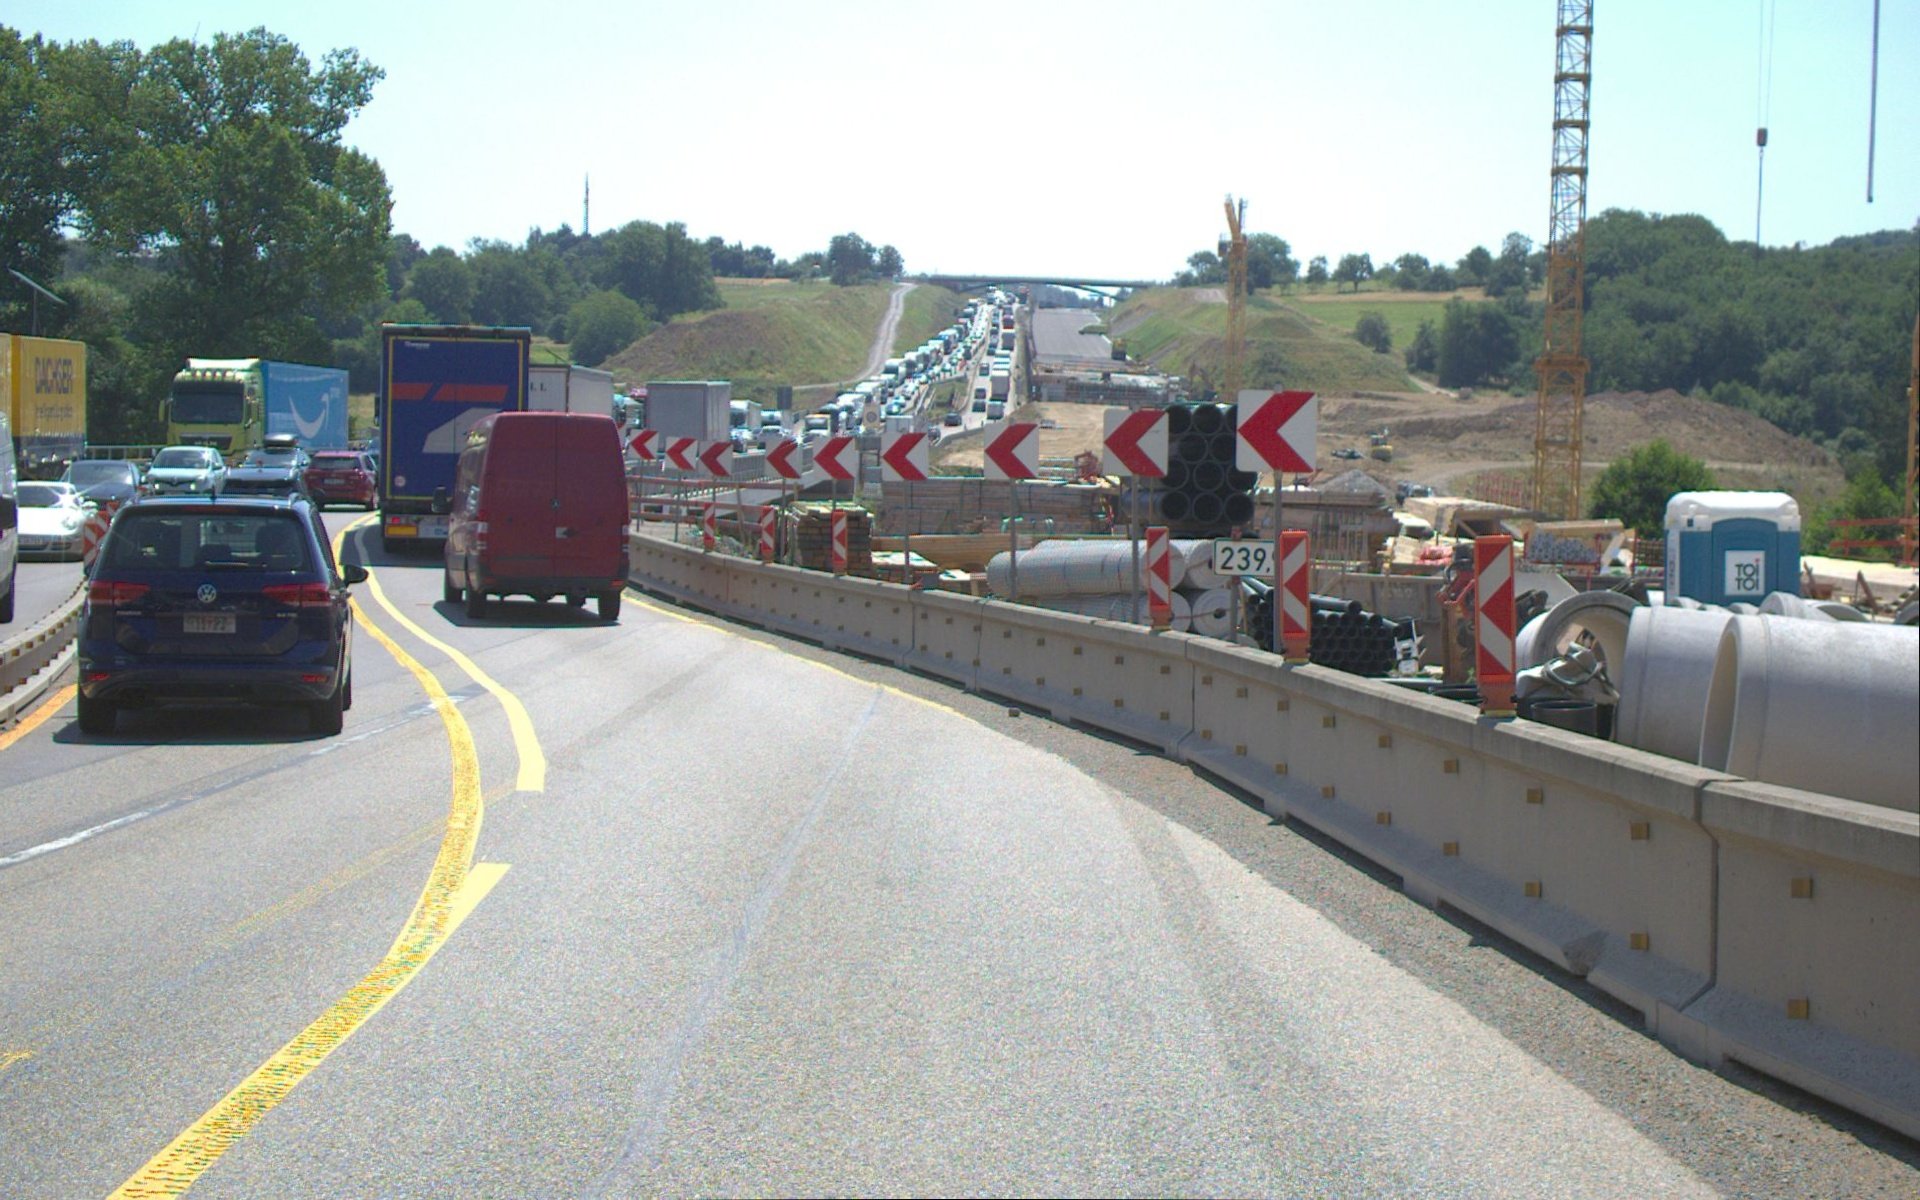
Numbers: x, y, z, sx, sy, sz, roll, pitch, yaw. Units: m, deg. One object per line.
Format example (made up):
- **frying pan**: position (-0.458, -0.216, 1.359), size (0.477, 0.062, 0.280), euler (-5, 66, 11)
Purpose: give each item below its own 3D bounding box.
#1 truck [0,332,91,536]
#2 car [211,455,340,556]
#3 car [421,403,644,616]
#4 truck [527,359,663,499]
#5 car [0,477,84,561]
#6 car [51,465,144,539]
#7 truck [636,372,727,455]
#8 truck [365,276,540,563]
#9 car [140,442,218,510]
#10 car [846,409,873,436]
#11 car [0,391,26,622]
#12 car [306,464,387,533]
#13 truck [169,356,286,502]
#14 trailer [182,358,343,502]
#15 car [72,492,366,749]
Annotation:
- **truck**: position (-22.012, -3.684, 75.992), size (2.806, 4.327, 15.379), euler (2, 2, -5)
- **car**: position (-11.716, -1.624, 59.074), size (1.833, 1.630, 4.391), euler (1, 1, -7)
- **car**: position (-5.738, -1.216, 45.522), size (2.149, 2.602, 5.441), euler (1, 2, -15)
- **truck**: position (-10.842, -5.095, 102.739), size (3.182, 3.975, 6.742), euler (1, 3, 1)
- **car**: position (-15.810, -1.407, 58.337), size (1.676, 1.260, 4.338), euler (1, 3, -12)
- **car**: position (-17.686, -2.040, 70.612), size (1.676, 1.357, 4.505), euler (1, 3, -12)
- **truck**: position (-12.138, -8.126, 150.546), size (3.183, 2.967, 8.899), euler (1, -1, 0)
- **truck**: position (-9.379, -3.307, 63.321), size (2.944, 4.928, 6.744), euler (1, 3, -9)
- **car**: position (-18.988, -3.034, 83.698), size (1.636, 1.480, 4.002), euler (1, 4, -10)
- **car**: position (-6.623, -11.713, 226.738), size (1.617, 1.694, 3.890), euler (2, 3, 0)
- **car**: position (-11.785, -1.042, 38.717), size (2.070, 2.495, 6.486), euler (1, 0, -12)
- **car**: position (-15.146, -2.512, 85.024), size (1.833, 1.629, 4.107), euler (1, 2, -8)
- **truck**: position (-22.399, -5.198, 105.282), size (2.625, 4.255, 4.733), euler (2, 2, -3)
- **trailer**: position (-22.582, -5.449, 112.062), size (2.647, 4.277, 13.311), euler (3, 2, -1)
- **car**: position (-5.253, 0.072, 24.827), size (1.733, 1.629, 4.391), euler (1, 2, -8)
